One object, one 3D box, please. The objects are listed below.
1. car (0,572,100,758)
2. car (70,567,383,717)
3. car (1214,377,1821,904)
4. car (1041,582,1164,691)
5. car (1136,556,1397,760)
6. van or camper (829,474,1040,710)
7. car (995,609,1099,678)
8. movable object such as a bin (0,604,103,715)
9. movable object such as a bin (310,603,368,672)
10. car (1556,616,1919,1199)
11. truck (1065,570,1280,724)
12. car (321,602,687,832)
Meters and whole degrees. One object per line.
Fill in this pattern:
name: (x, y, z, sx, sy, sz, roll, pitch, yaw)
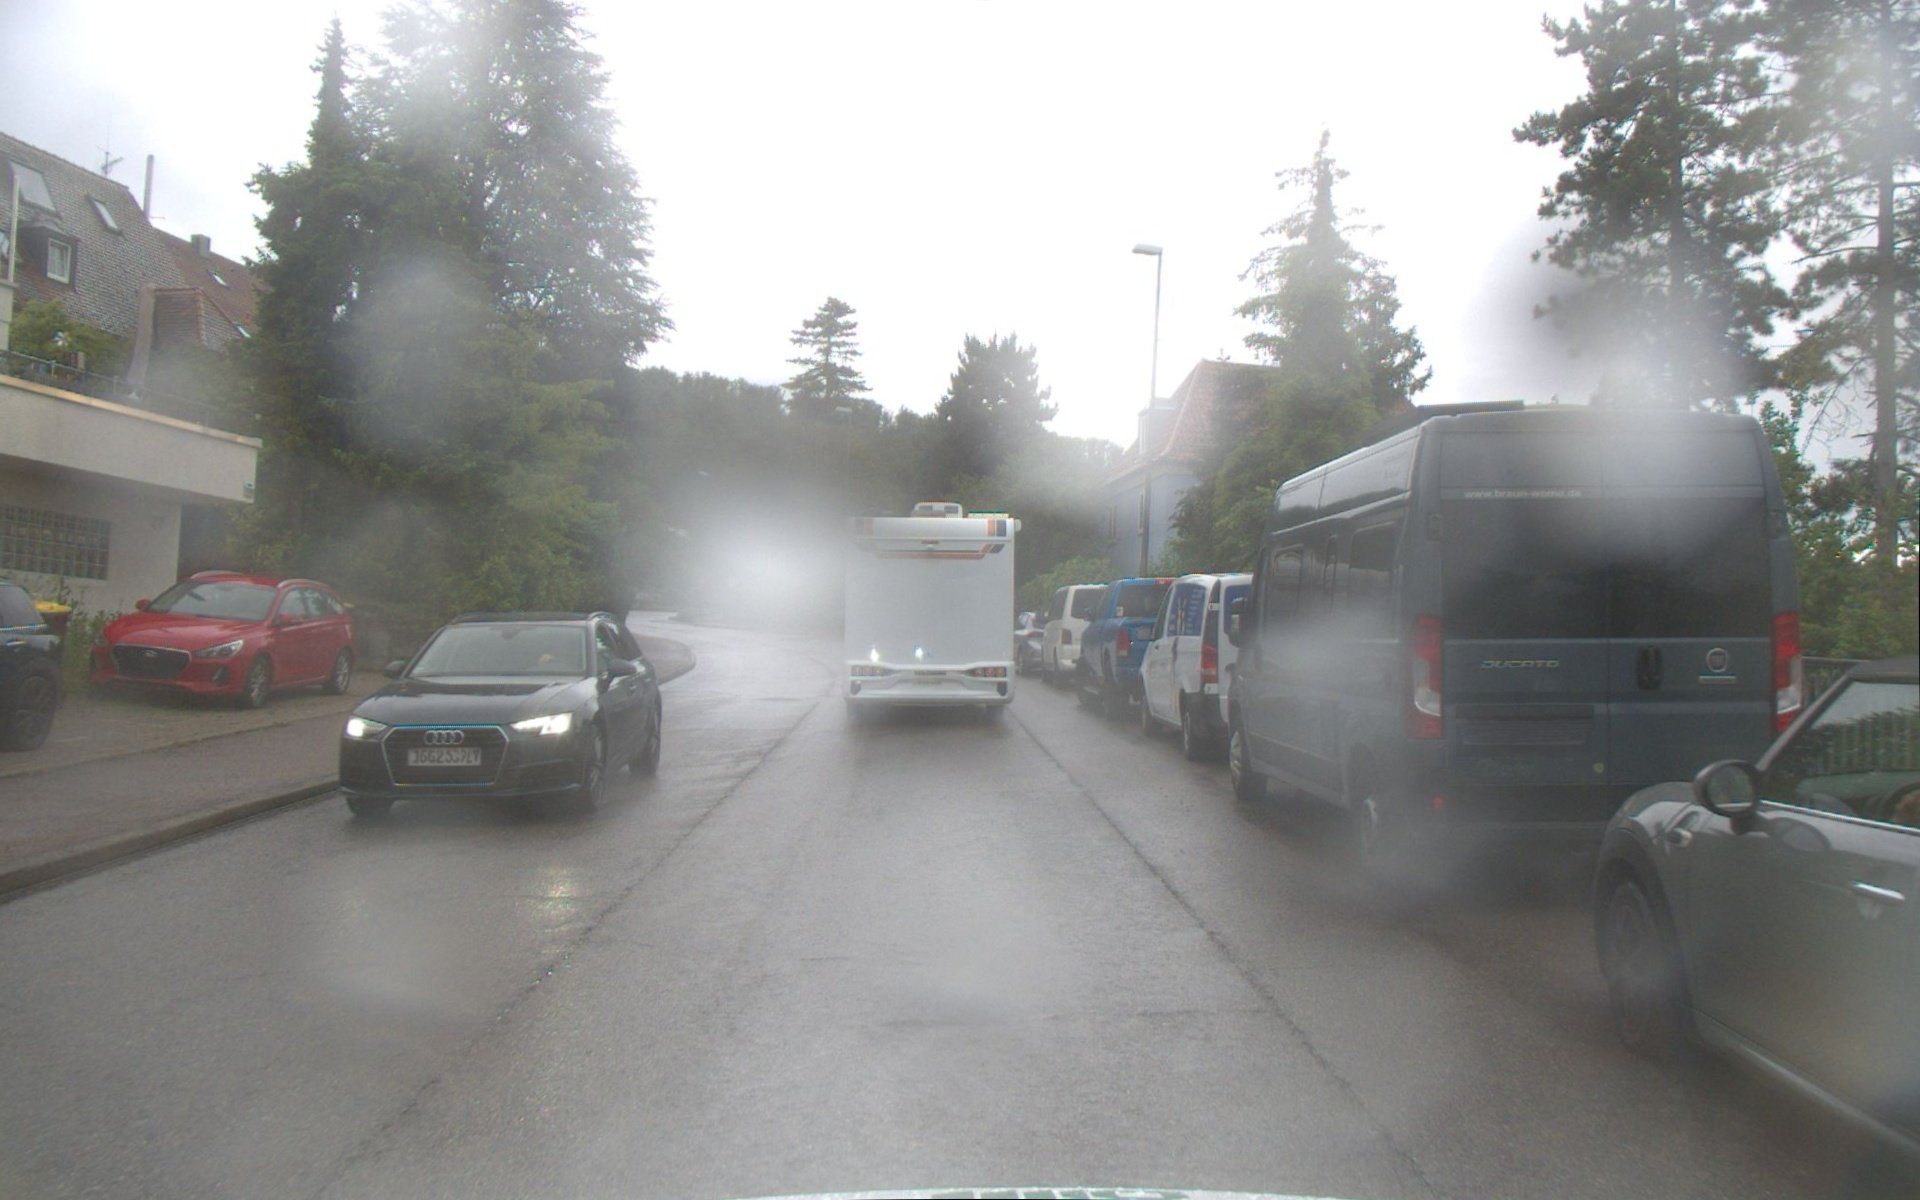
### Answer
car: (-8.297, 0.466, 12.245, 1.600, 1.420, 4.238, 5, 0, -1)
car: (-8.782, 0.465, 20.305, 1.739, 1.462, 4.587, 6, 0, -1)
car: (3.163, 0.207, 11.004, 1.990, 2.549, 5.955, 0, 0, -1)
car: (2.764, 0.676, 33.056, 1.823, 1.955, 5.077, 2, 0, -2)
car: (3.108, 0.545, 17.891, 1.790, 1.874, 5.269, 0, 0, -1)
van or camper: (-0.291, -0.006, 23.902, 2.562, 2.903, 6.030, 2, -2, 1)
car: (1.980, 0.987, 38.900, 1.654, 1.482, 4.050, 2, 0, -8)
movable object such as a bin: (-9.406, 0.607, 17.117, 0.627, 1.103, 0.752, 1, 0, 5)
movable object such as a bin: (-9.993, 0.592, 26.614, 0.565, 1.075, 0.684, 2, -1, 10)
car: (3.045, 0.781, 4.432, 1.556, 1.454, 3.797, 0, 0, 0)
truck: (2.935, 0.613, 24.496, 2.071, 1.884, 6.615, 3, 0, -2)
car: (-3.403, 0.788, 13.218, 1.738, 1.462, 4.361, -2, 0, -1)
